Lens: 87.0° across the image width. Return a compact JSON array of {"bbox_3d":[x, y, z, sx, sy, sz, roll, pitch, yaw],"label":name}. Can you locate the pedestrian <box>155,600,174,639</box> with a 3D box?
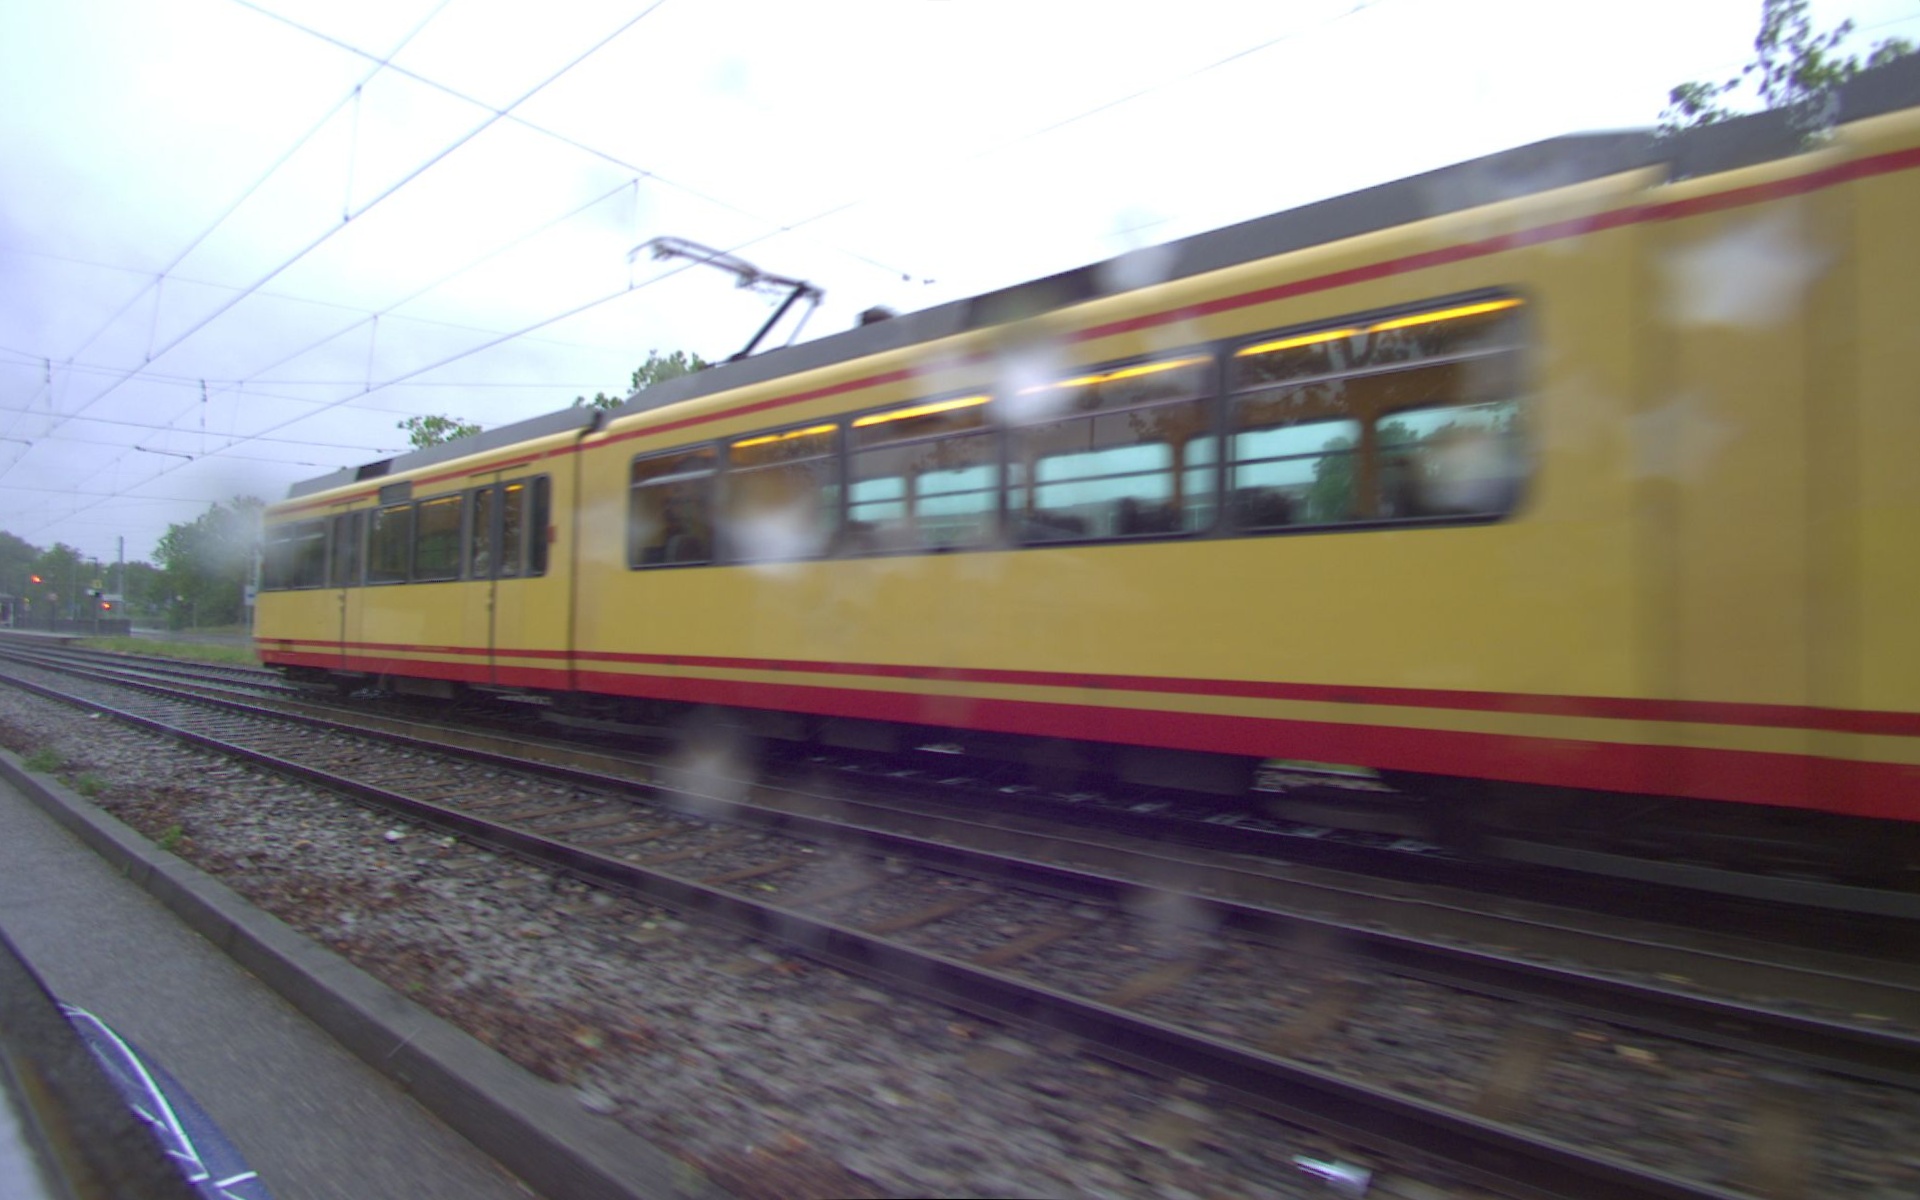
[{"bbox_3d":[-84.927,2.061,108.064,1.152,4.059,1.524,0,-1,-21],"label":"pedestrian"}]

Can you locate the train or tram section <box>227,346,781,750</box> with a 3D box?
[{"bbox_3d":[-8.021,-0.448,15.837,13.013,4.181,2.777,-1,-1,41],"label":"train or tram section"}]

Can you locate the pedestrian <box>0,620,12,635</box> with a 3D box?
[{"bbox_3d":[-83.141,2.392,88.089,0.858,1.326,0.822,-1,0,42],"label":"pedestrian"}]

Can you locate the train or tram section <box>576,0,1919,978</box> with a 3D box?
[{"bbox_3d":[1.902,-0.645,7.082,13.012,4.181,2.777,-1,-1,41],"label":"train or tram section"}]
